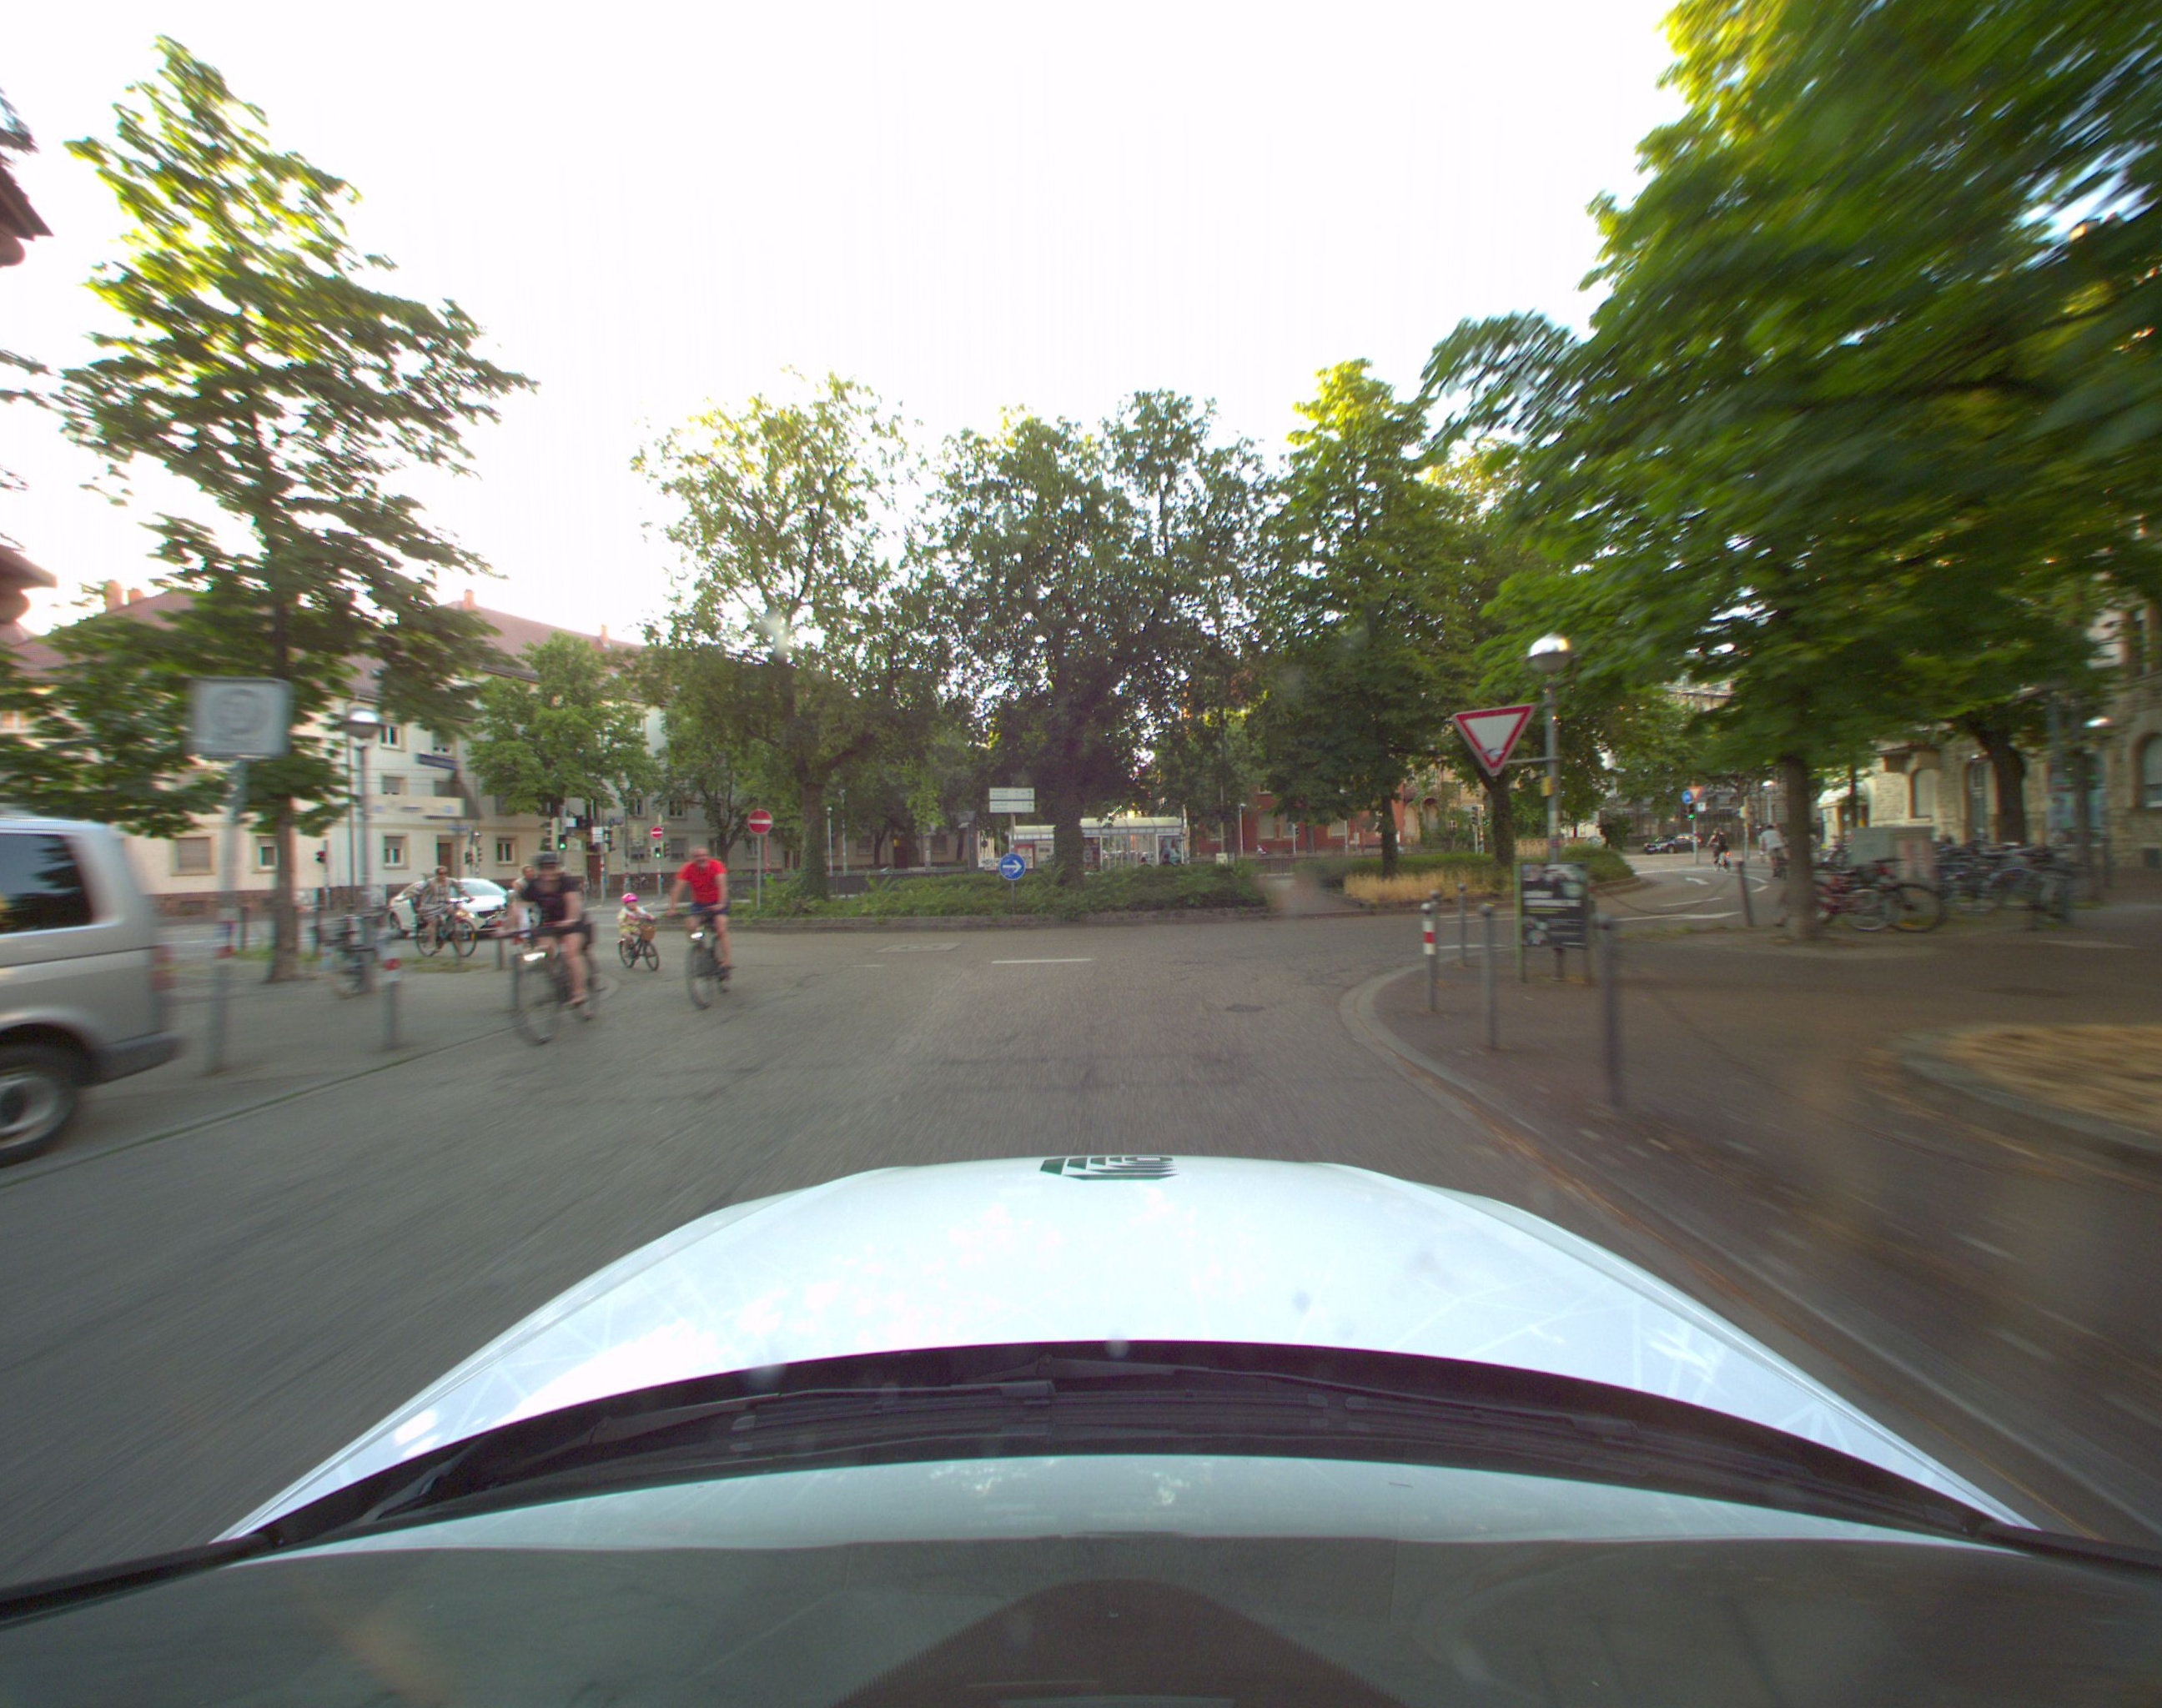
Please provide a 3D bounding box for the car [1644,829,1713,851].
[{"bbox_3d":[45.294,-1.032,61.769,4.416,1.510,1.939,-2,0,-17],"label":"car"}]

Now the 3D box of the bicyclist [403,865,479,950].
[{"bbox_3d":[-12.177,1.002,15.519,0.868,1.545,0.679,-2,0,3],"label":"bicyclist"}]

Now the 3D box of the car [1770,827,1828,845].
[{"bbox_3d":[63.936,-1.585,72.547,4.634,1.426,1.996,-2,0,-21],"label":"car"}]

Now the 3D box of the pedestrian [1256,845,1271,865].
[{"bbox_3d":[14.246,0.111,63.639,0.856,1.526,0.720,-2,0,39],"label":"pedestrian"}]

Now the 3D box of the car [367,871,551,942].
[{"bbox_3d":[-15.613,1.260,20.390,4.778,1.517,2.013,-2,0,31],"label":"car"}]

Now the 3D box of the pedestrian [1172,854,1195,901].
[{"bbox_3d":[3.200,0.731,25.481,0.614,1.431,0.656,-2,0,2],"label":"pedestrian"}]

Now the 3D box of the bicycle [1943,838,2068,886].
[{"bbox_3d":[20.928,0.189,18.497,0.421,1.051,1.832,-1,-1,-44],"label":"bicycle"}]

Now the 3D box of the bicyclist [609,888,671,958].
[{"bbox_3d":[-6.683,1.021,12.344,0.652,0.977,0.721,-2,0,-42],"label":"bicyclist"}]

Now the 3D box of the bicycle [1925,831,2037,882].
[{"bbox_3d":[22.846,0.087,20.722,0.494,1.217,1.862,7,-6,-43],"label":"bicycle"}]

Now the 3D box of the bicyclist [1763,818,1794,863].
[{"bbox_3d":[22.454,-0.424,26.225,0.691,1.411,0.870,-2,0,41],"label":"bicyclist"}]

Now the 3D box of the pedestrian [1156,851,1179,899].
[{"bbox_3d":[2.658,0.639,25.133,0.614,1.431,0.656,-2,0,2],"label":"pedestrian"}]

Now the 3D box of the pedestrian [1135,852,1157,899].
[{"bbox_3d":[2.004,0.653,25.049,0.614,1.431,0.656,-2,0,2],"label":"pedestrian"}]

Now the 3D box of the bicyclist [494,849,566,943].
[{"bbox_3d":[-9.670,0.724,14.301,0.864,1.583,0.731,-2,0,32],"label":"bicyclist"}]

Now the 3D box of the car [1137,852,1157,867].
[{"bbox_3d":[7.652,0.680,94.726,1.987,1.703,4.719,0,0,0],"label":"car"}]

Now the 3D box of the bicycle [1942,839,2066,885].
[{"bbox_3d":[21.135,0.201,18.706,0.421,0.999,1.832,-1,-1,-44],"label":"bicycle"}]

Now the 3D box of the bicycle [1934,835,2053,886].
[{"bbox_3d":[21.771,0.169,19.492,0.421,1.093,1.832,24,-18,-41],"label":"bicycle"}]

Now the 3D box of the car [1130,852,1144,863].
[{"bbox_3d":[8.907,0.521,130.328,1.987,1.703,4.719,0,0,0],"label":"car"}]

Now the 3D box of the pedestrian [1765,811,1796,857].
[{"bbox_3d":[33.148,-0.946,38.583,1.001,2.085,1.067,-3,0,44],"label":"pedestrian"}]

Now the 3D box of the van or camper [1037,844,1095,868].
[{"bbox_3d":[-1.991,0.283,105.209,7.349,3.083,2.670,0,0,-4],"label":"van or camper"}]

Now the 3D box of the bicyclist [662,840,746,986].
[{"bbox_3d":[-4.208,0.625,9.138,0.653,1.526,0.863,-2,0,-14],"label":"bicyclist"}]

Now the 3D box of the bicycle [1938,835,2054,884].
[{"bbox_3d":[22.257,0.138,19.866,0.421,1.144,1.832,-1,-1,-44],"label":"bicycle"}]

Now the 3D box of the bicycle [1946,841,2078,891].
[{"bbox_3d":[19.979,0.272,17.520,0.421,1.014,1.834,-1,0,-39],"label":"bicycle"}]

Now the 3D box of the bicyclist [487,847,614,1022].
[{"bbox_3d":[-4.958,0.709,7.669,0.714,1.526,0.863,-2,0,-14],"label":"bicyclist"}]

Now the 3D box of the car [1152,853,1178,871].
[{"bbox_3d":[8.031,0.747,78.389,1.987,1.703,4.719,0,0,0],"label":"car"}]

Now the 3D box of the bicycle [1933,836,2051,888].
[{"bbox_3d":[21.953,0.207,19.682,0.421,1.131,1.832,24,-18,-41],"label":"bicycle"}]

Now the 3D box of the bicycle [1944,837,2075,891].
[{"bbox_3d":[20.201,0.217,17.761,0.421,1.116,1.834,-1,0,-39],"label":"bicycle"}]

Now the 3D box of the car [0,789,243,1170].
[{"bbox_3d":[-6.900,0.684,3.150,2.033,2.057,5.007,0,0,2],"label":"car"}]

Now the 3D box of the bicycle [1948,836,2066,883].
[{"bbox_3d":[22.780,0.142,20.081,1.833,1.104,0.577,-2,0,23],"label":"bicycle"}]

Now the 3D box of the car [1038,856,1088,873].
[{"bbox_3d":[-1.863,1.034,82.459,4.939,1.703,1.998,0,0,-4],"label":"car"}]

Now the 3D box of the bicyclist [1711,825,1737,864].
[{"bbox_3d":[24.663,-0.355,31.246,0.691,1.461,0.789,-2,0,32],"label":"bicyclist"}]

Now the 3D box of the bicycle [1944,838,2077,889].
[{"bbox_3d":[20.611,0.218,18.123,0.538,1.061,1.897,-1,0,-43],"label":"bicycle"}]

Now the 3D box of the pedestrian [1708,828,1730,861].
[{"bbox_3d":[35.199,-0.513,44.955,0.859,1.794,0.930,-2,0,41],"label":"pedestrian"}]
